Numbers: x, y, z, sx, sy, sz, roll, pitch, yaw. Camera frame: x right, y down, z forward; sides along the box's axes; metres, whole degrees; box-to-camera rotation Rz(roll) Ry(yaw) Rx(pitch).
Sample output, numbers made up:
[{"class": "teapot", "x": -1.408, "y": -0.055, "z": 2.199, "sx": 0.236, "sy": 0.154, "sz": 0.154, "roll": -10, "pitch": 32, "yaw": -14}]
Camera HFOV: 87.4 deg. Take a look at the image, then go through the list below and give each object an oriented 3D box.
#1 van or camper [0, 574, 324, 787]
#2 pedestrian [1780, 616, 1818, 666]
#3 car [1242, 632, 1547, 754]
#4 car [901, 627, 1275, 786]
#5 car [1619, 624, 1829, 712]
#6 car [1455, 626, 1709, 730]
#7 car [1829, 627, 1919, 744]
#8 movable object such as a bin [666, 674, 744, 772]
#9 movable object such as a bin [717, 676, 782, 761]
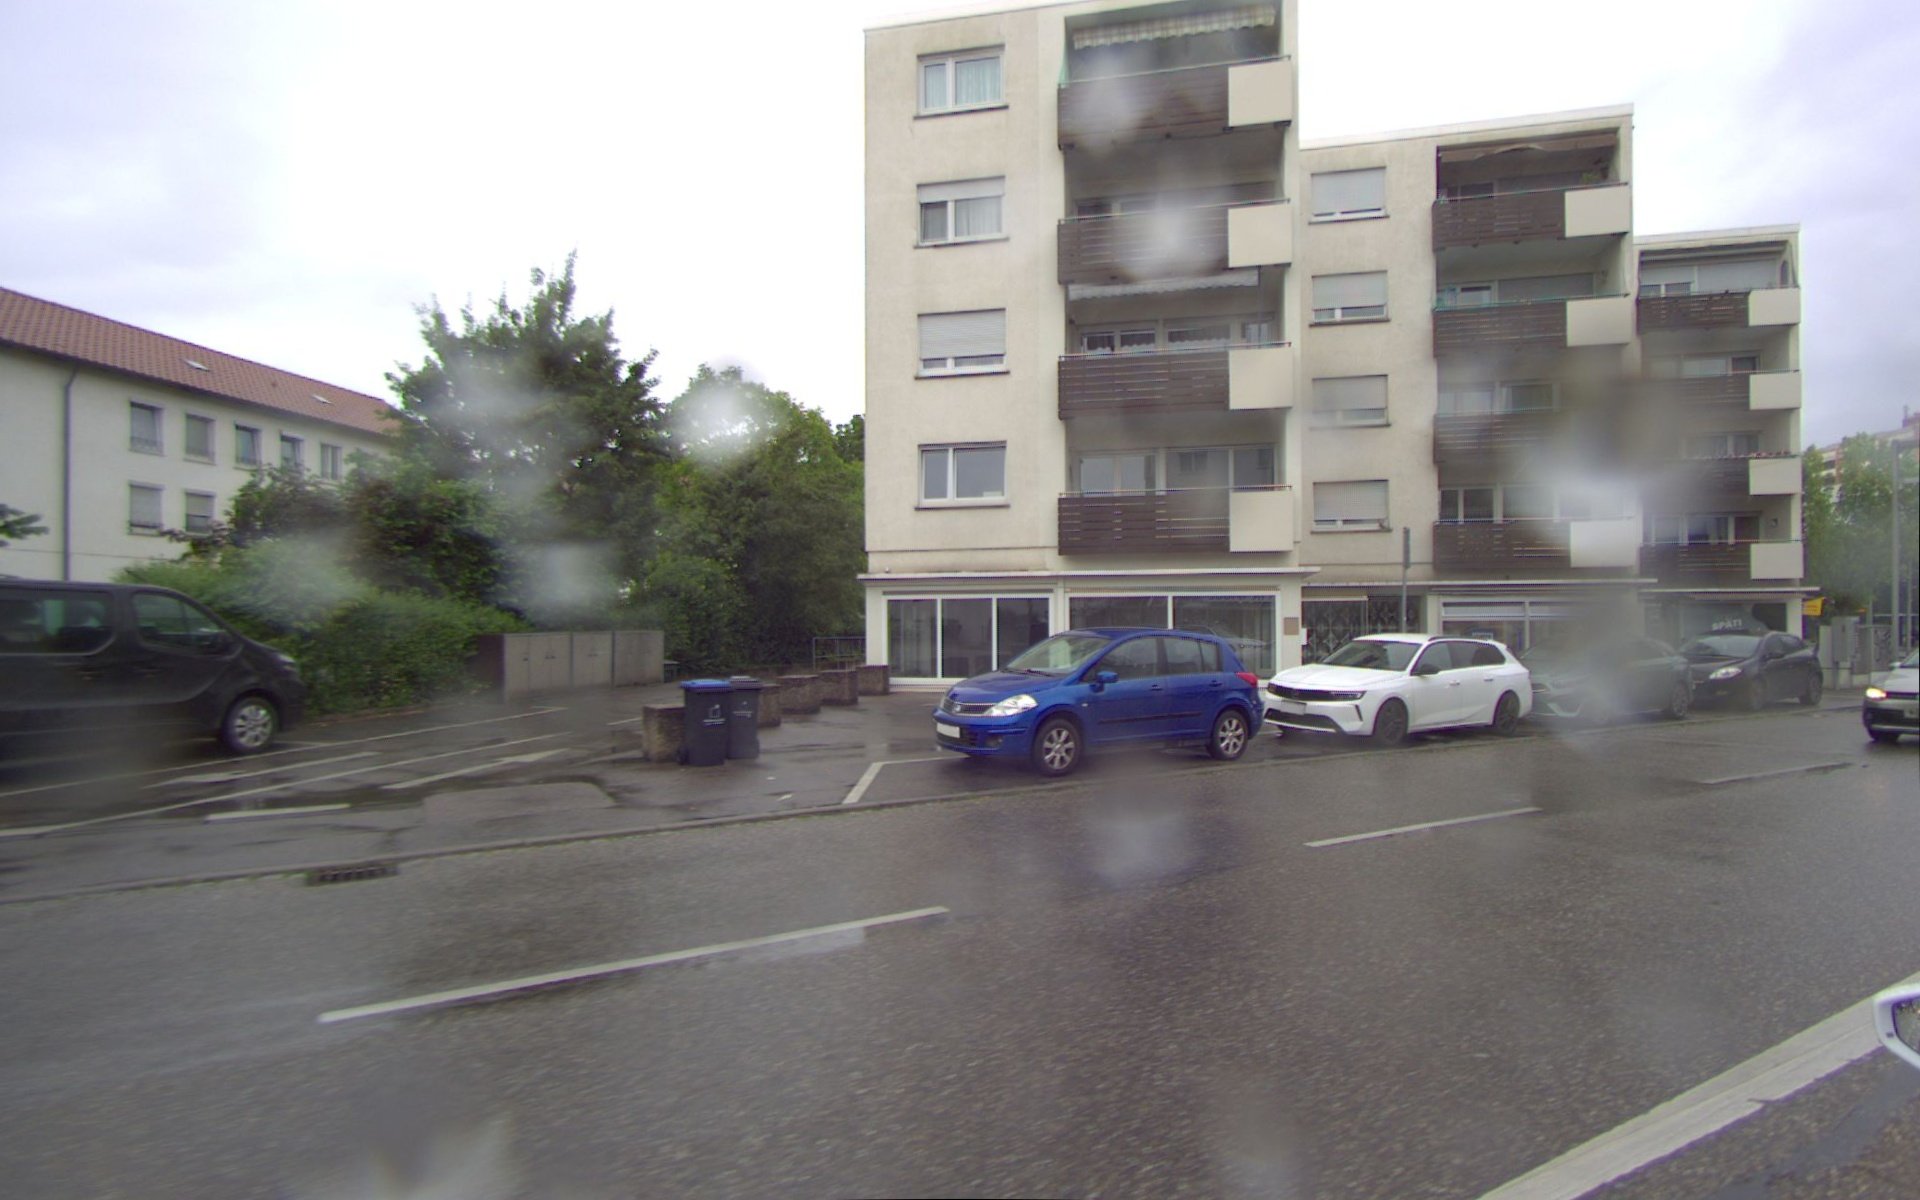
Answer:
[{"class": "van or camper", "x": -9.527, "y": 0.764, "z": 10.212, "sx": 1.960, "sy": 1.950, "sz": 5.220, "roll": -1, "pitch": -1, "yaw": 14}, {"class": "pedestrian", "x": 36.204, "y": 1.738, "z": 43.362, "sx": 1.009, "sy": 2.041, "sz": 0.962, "roll": 3, "pitch": 3, "yaw": 29}, {"class": "car", "x": 6.336, "y": 1.224, "z": 14.480, "sx": 4.630, "sy": 1.483, "sz": 1.685, "roll": 1, "pitch": -1, "yaw": -31}, {"class": "car", "x": 1.576, "y": 1.103, "z": 11.736, "sx": 4.275, "sy": 1.541, "sz": 1.643, "roll": 1, "pitch": -1, "yaw": -32}, {"class": "car", "x": 15.252, "y": 1.272, "z": 20.019, "sx": 4.224, "sy": 1.562, "sz": 1.925, "roll": 1, "pitch": -1, "yaw": -31}, {"class": "car", "x": 10.741, "y": 1.242, "z": 17.280, "sx": 4.469, "sy": 1.562, "sz": 1.925, "roll": 1, "pitch": -1, "yaw": -31}, {"class": "car", "x": 13.861, "y": 1.080, "z": 13.558, "sx": 3.789, "sy": 1.458, "sz": 1.820, "roll": 0, "pitch": -3, "yaw": -25}, {"class": "movable object such as a bin", "x": -2.787, "y": 1.321, "z": 10.954, "sx": 0.675, "sy": 0.978, "sz": 0.644, "roll": 1, "pitch": -2, "yaw": -31}, {"class": "movable object such as a bin", "x": -2.454, "y": 1.363, "z": 11.688, "sx": 0.591, "sy": 0.915, "sz": 0.571, "roll": 1, "pitch": -2, "yaw": -31}]
